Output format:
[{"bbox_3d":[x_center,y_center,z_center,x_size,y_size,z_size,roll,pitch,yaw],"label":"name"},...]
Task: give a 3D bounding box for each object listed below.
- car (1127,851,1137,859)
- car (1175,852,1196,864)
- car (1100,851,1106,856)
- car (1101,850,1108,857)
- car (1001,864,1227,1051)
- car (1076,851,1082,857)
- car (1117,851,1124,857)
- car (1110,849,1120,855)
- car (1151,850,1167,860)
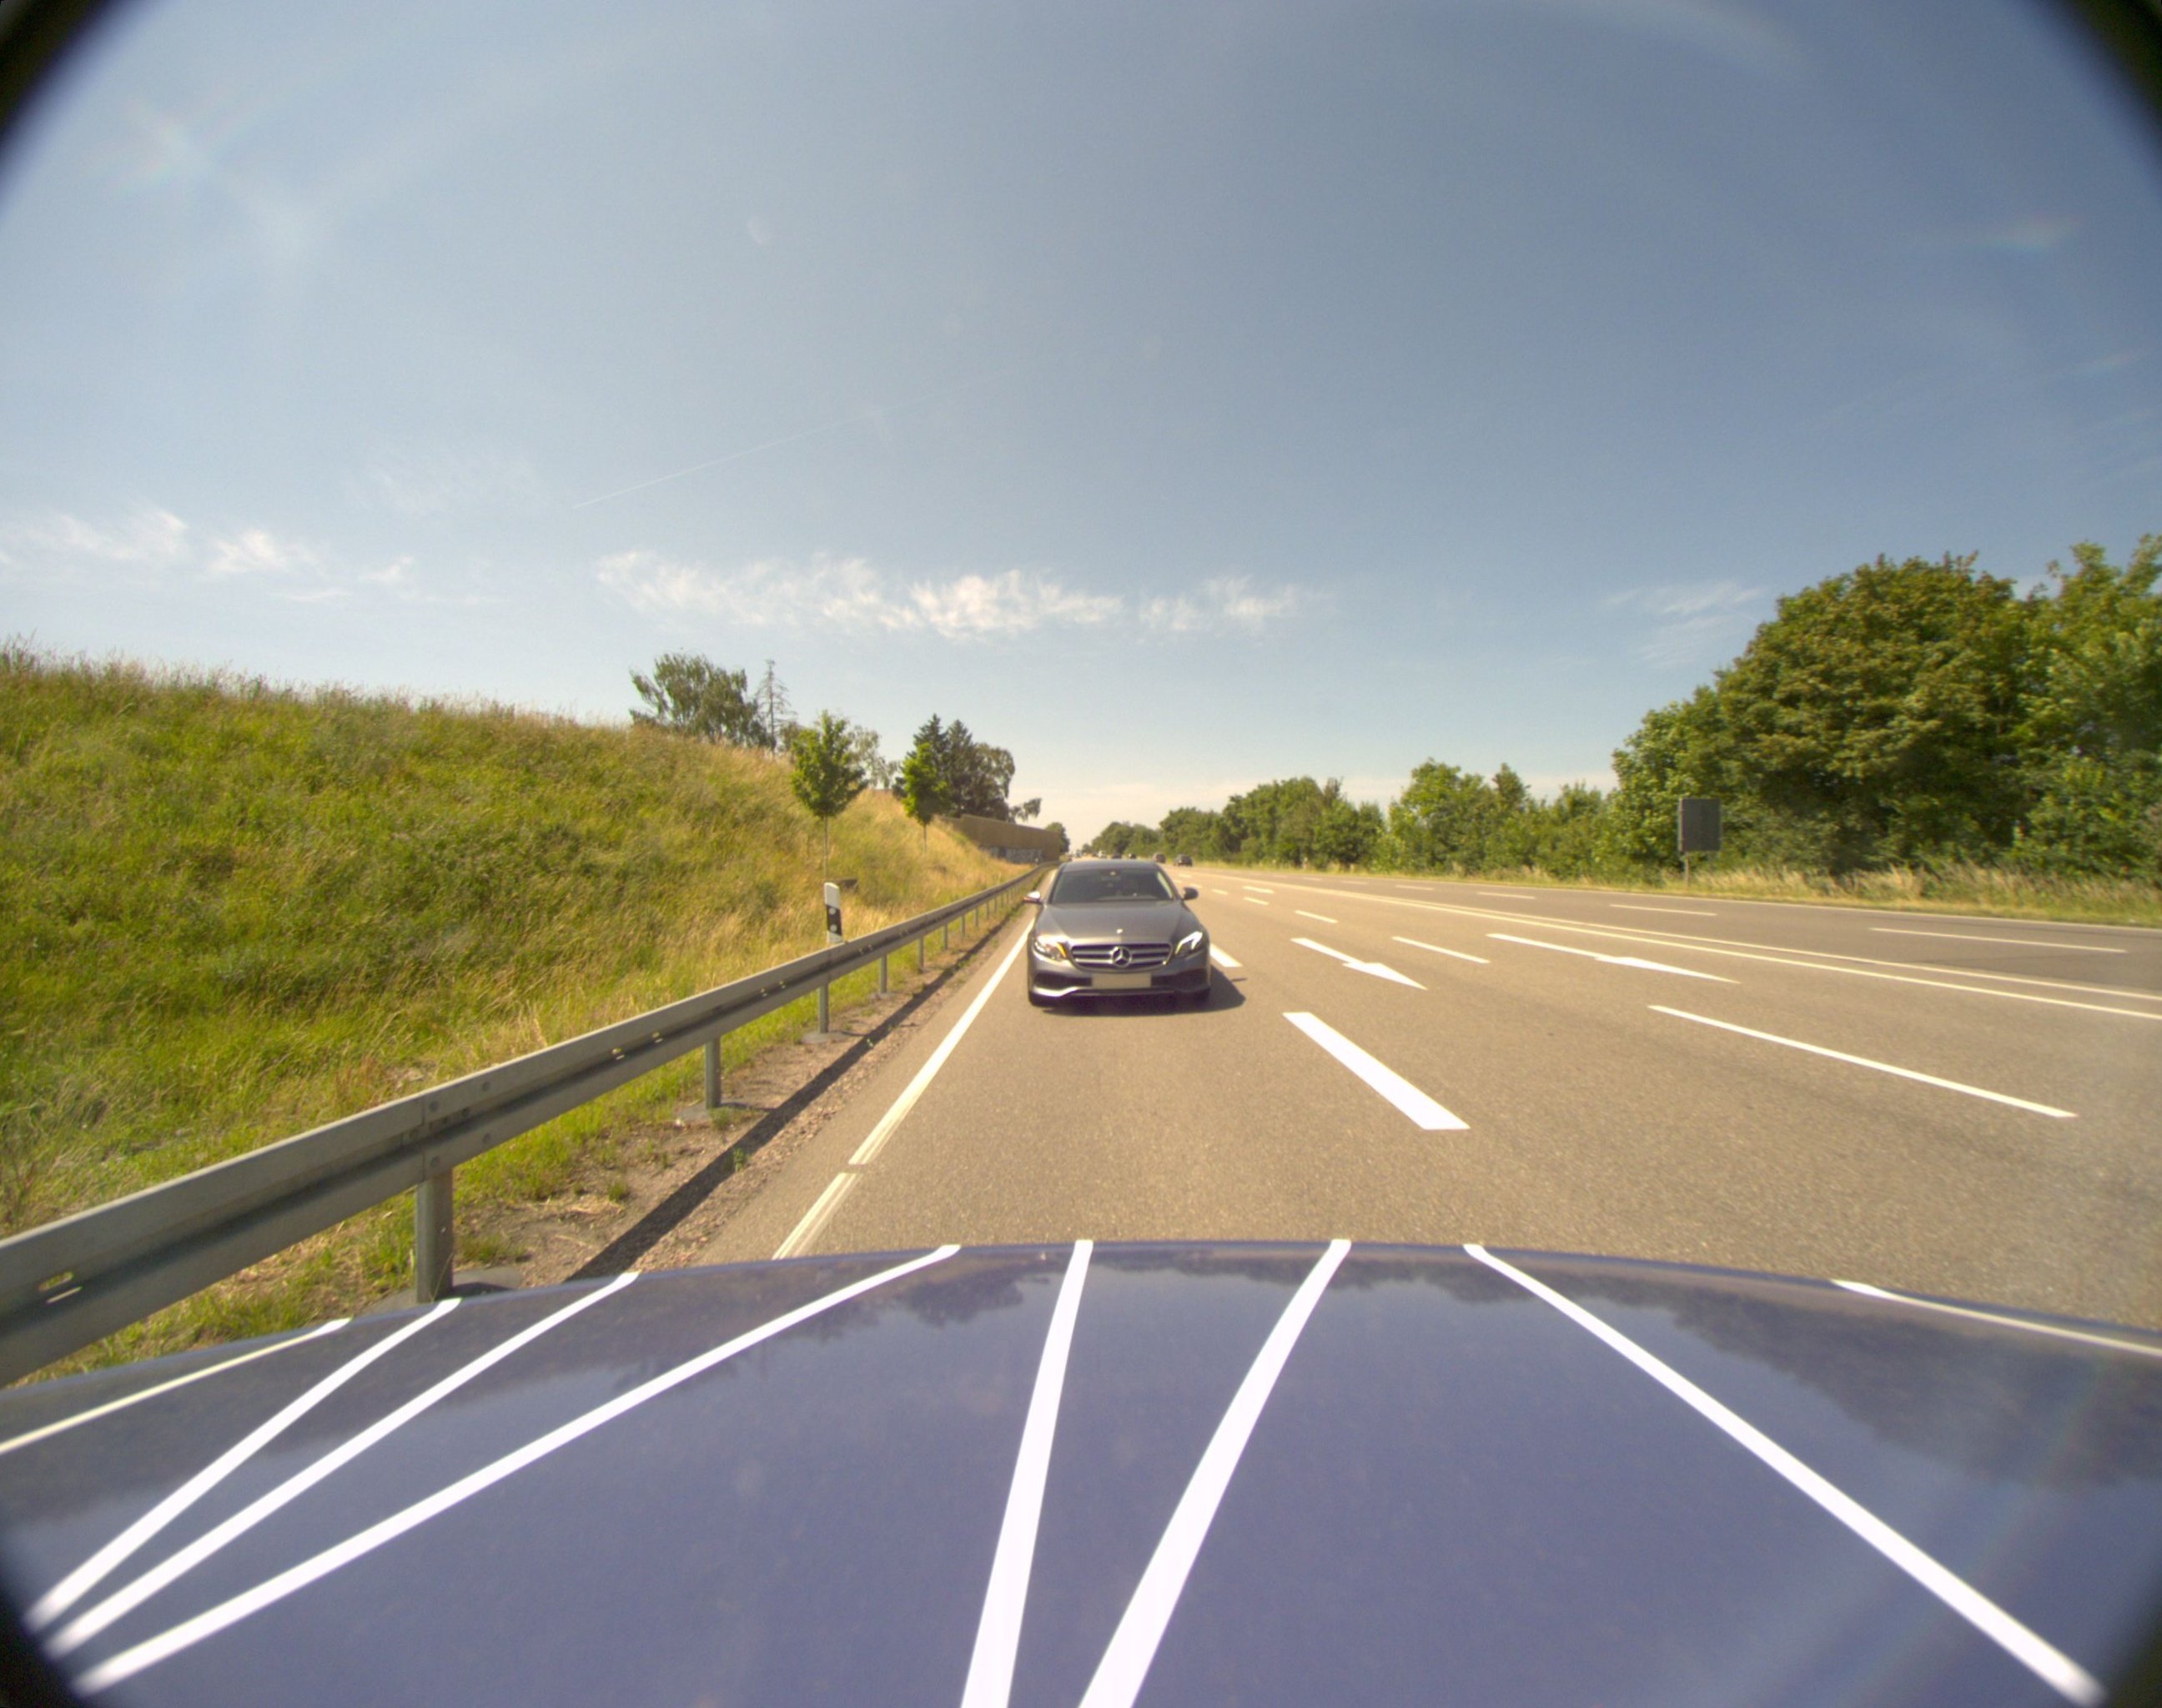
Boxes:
[{"bbox_3d":[10.030,0.148,149.100,1.649,1.479,3.557,-2,1,-2],"label":"car"},{"bbox_3d":[12.988,0.524,94.763,1.883,1.390,4.530,-1,1,-2],"label":"car"},{"bbox_3d":[7.352,-0.257,253.478,1.893,1.527,4.525,-1,1,0],"label":"car"},{"bbox_3d":[6.492,-0.173,212.377,1.910,1.906,5.051,0,0,0],"label":"car"},{"bbox_3d":[0.218,0.911,8.743,1.894,1.439,4.524,-1,1,-2],"label":"car"},{"bbox_3d":[-0.715,-0.014,232.677,1.801,1.674,3.999,-2,1,0],"label":"car"},{"bbox_3d":[10.510,-0.133,201.434,1.526,1.461,3.787,-2,1,-3],"label":"car"},{"bbox_3d":[8.299,-0.437,184.589,1.810,1.272,4.763,-1,0,-4],"label":"car"},{"bbox_3d":[12.675,0.157,123.568,2.033,1.630,4.568,-2,1,-2],"label":"car"}]
